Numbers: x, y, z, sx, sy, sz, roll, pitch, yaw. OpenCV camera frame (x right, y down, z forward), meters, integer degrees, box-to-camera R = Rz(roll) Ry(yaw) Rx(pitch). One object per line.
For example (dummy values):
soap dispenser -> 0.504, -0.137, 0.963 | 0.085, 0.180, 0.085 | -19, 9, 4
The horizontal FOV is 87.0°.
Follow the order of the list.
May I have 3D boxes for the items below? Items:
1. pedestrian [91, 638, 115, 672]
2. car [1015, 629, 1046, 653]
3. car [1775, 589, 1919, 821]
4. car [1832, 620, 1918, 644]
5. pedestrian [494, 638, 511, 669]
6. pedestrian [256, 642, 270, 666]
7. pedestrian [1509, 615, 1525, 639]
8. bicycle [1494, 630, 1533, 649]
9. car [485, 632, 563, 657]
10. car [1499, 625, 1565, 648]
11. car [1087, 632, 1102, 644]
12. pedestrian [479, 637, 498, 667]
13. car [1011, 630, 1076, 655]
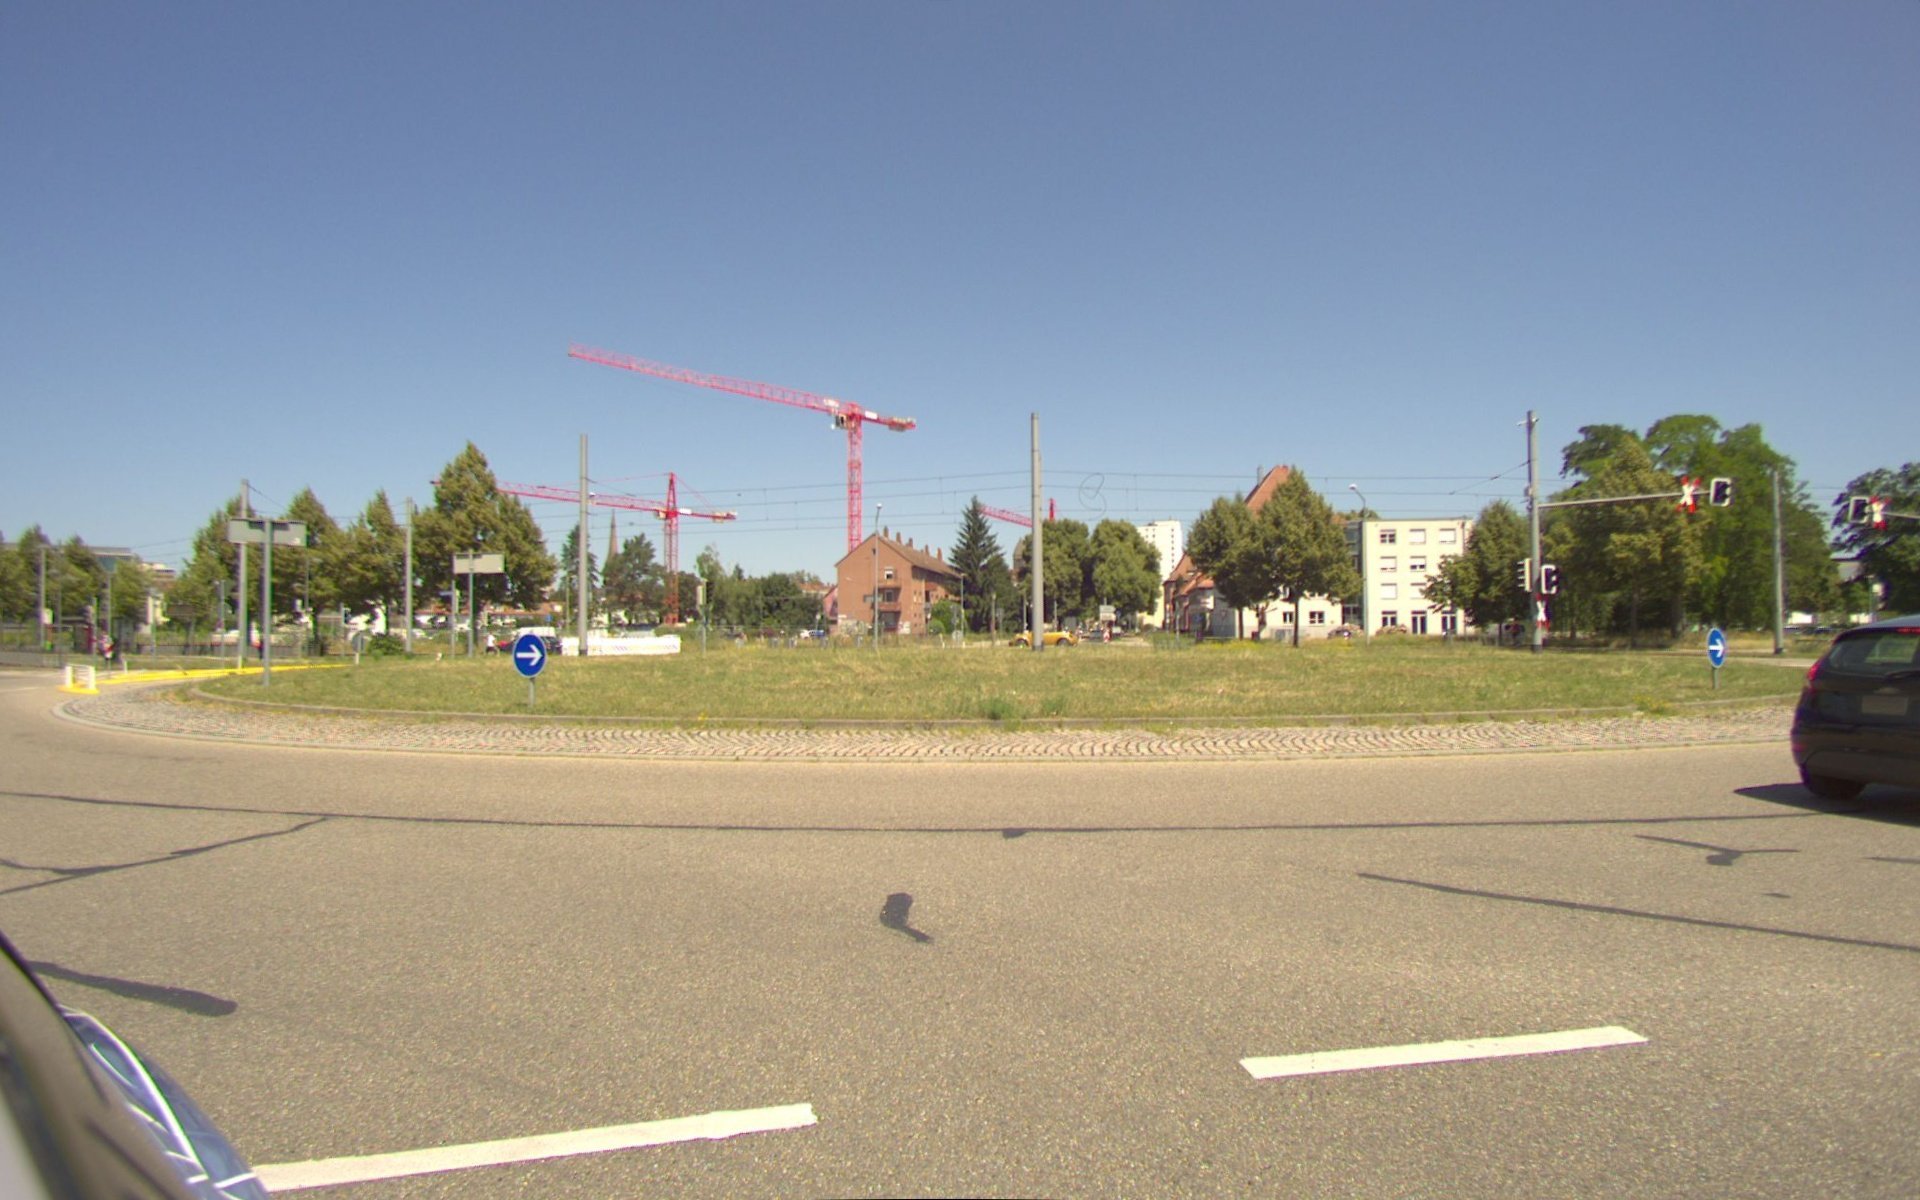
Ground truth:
pedestrian -> -43.030, 2.763, 50.803 | 0.781, 1.652, 0.750 | 0, -2, 40
car -> 6.301, 3.620, 90.007 | 1.981, 2.029, 3.980 | 1, -2, 15
car -> 8.078, 0.693, 7.212 | 3.754, 1.519, 1.638 | 0, -1, -16
car -> 63.809, 2.220, 70.643 | 1.965, 1.586, 4.013 | 2, -2, -26
pedestrian -> -30.350, 3.521, 67.204 | 0.731, 2.029, 0.736 | 0, -2, 40
pedestrian -> -42.143, 3.268, 61.222 | 0.543, 1.417, 0.589 | -2, -2, 41
pedestrian -> 34.396, 1.673, 62.470 | 0.816, 1.461, 0.701 | 0, -2, 34
bicycle -> 34.201, 2.438, 62.575 | 2.053, 1.123, 0.721 | 0, -2, 35
car -> -26.982, 2.747, 62.718 | 3.941, 1.475, 2.001 | 1, -2, -2
car -> 42.995, 2.736, 76.134 | 3.964, 1.697, 1.990 | 1, -2, 16
car -> 17.210, 4.810, 129.435 | 1.697, 1.431, 3.888 | 1, -2, 10
pedestrian -> -30.970, 3.389, 66.463 | 0.731, 1.913, 0.804 | 0, -2, 40
car -> 5.067, 2.569, 61.075 | 3.628, 1.413, 1.822 | 0, -1, 16
